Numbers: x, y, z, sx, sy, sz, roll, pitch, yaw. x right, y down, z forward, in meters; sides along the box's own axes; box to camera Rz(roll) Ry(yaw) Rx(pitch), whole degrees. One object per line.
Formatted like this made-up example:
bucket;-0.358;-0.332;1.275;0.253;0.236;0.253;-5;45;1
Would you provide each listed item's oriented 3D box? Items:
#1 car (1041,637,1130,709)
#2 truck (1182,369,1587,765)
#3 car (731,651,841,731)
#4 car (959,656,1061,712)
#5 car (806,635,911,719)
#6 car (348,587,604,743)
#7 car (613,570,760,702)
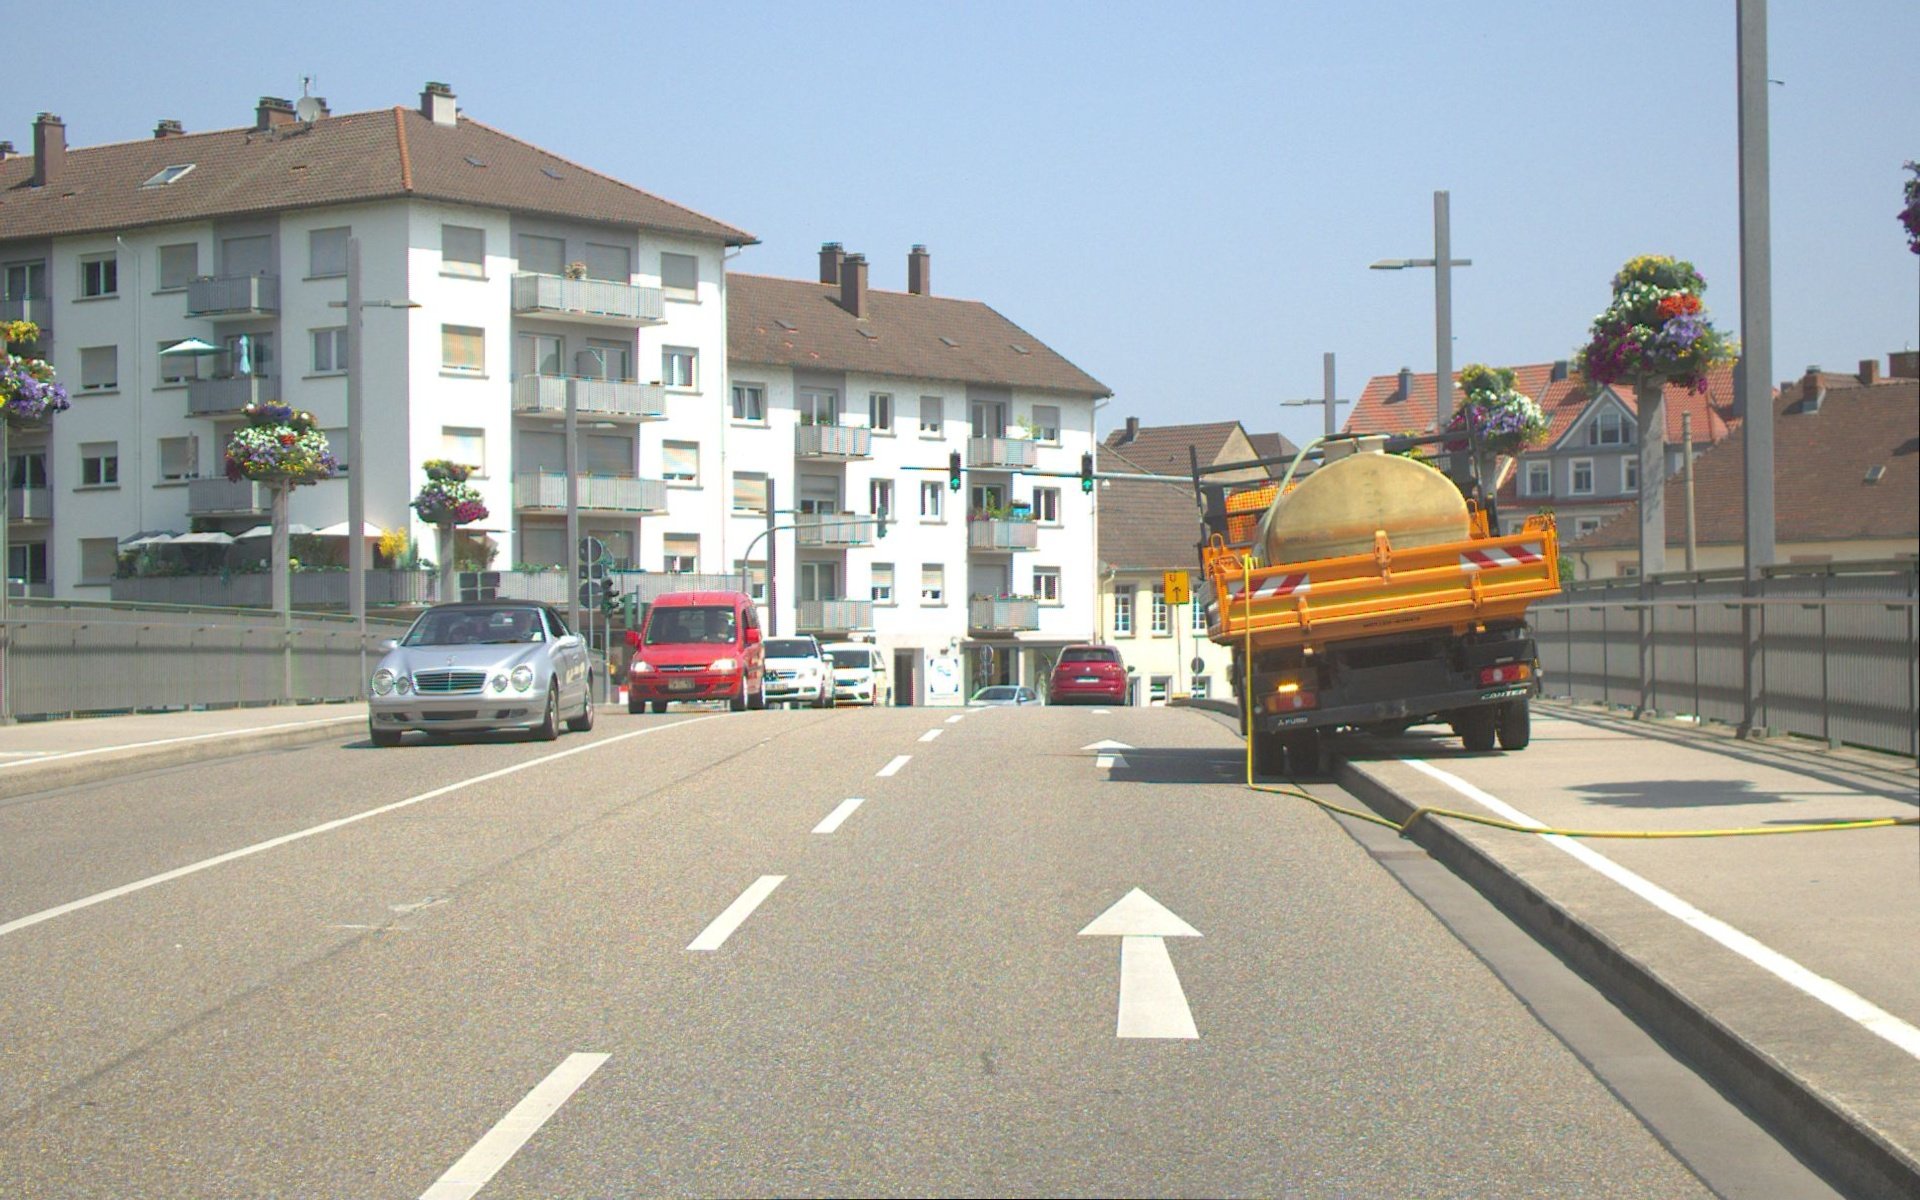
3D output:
car;3.021;1.757;83.499;1.990;1.607;4.342;-1;0;0
truck;3.117;-0.244;26.633;2.606;2.682;5.822;-1;0;2
car;-3.310;1.722;66.092;1.844;1.427;4.713;-1;-1;0
car;1.531;2.532;103.775;1.762;1.514;3.996;-3;-1;21
car;-2.474;1.868;84.615;1.759;1.851;4.645;1;1;8
car;-4.662;0.587;33.689;1.698;1.354;4.456;-1;1;2
car;-3.833;0.511;48.735;1.736;1.771;4.176;-1;-1;0
